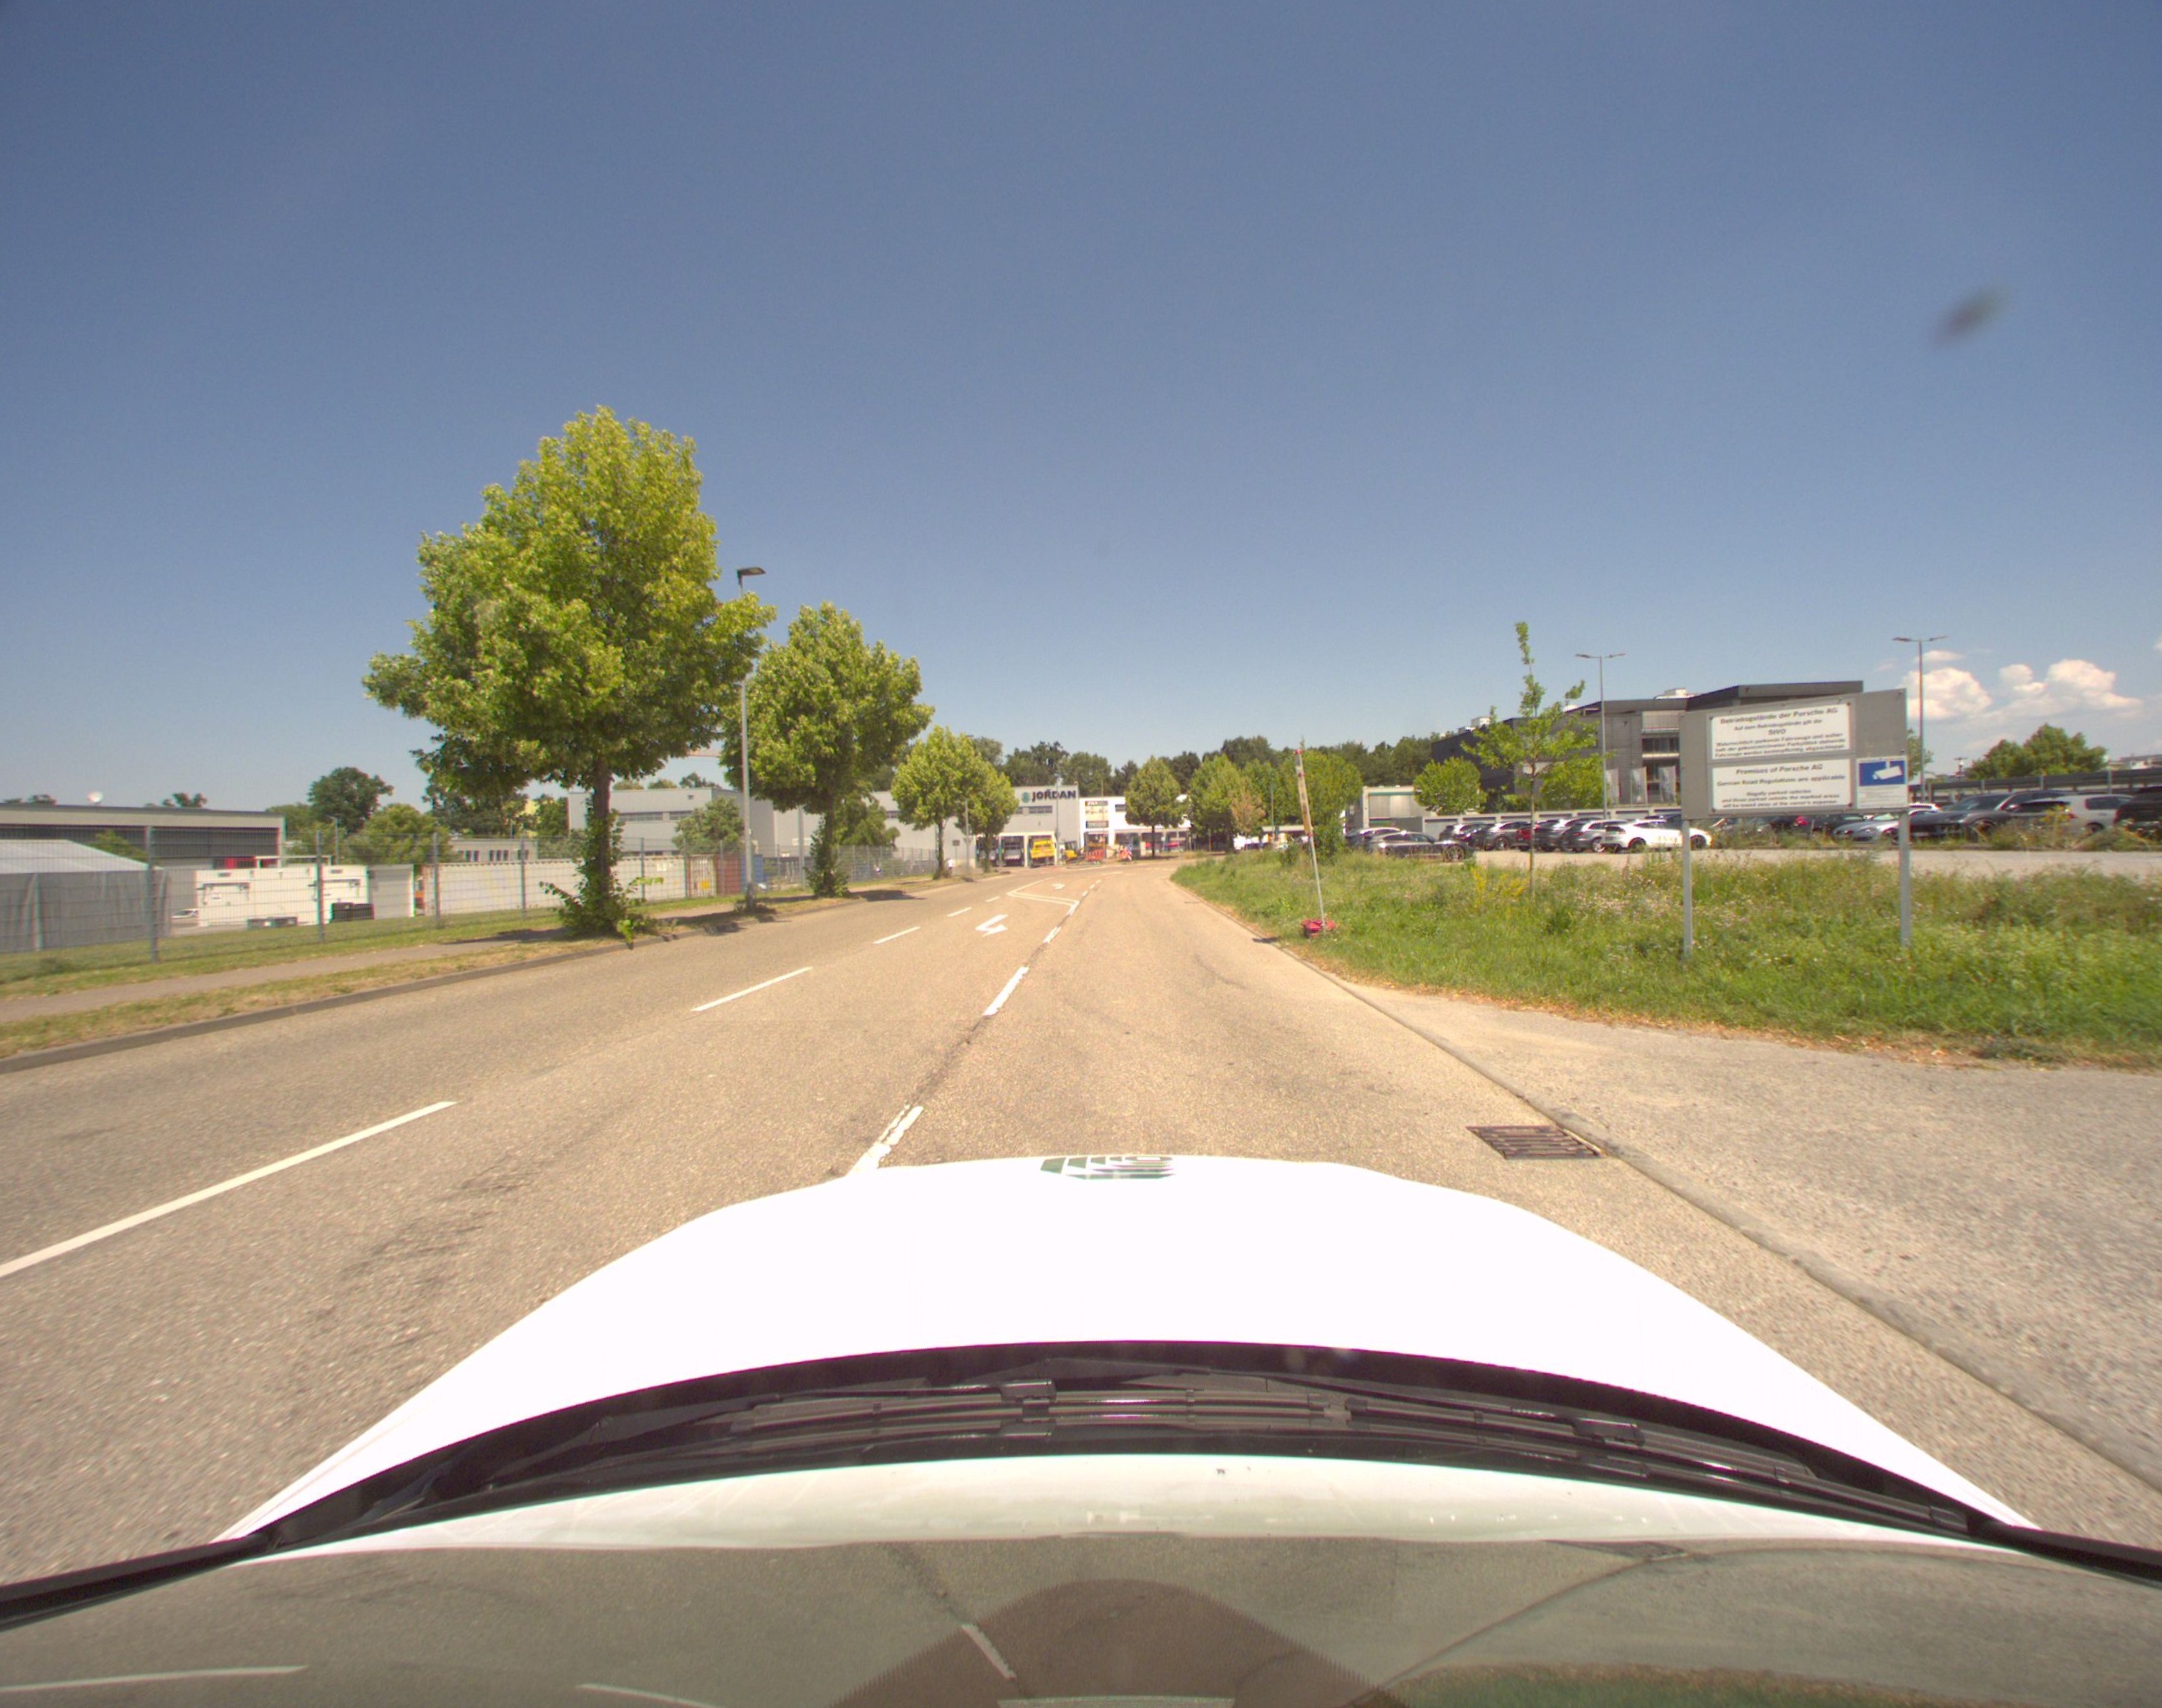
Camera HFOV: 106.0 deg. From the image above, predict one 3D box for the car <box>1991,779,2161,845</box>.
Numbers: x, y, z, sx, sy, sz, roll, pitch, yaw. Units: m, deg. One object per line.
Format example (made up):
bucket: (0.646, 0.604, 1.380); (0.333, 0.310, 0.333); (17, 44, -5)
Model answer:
car: (29.064, -1.236, 23.397); (3.976, 1.595, 1.768); (-4, 4, -1)

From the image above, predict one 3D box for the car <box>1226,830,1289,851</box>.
car: (21.090, -1.565, 97.507); (7.137, 2.088, 2.003); (-3, 0, 5)

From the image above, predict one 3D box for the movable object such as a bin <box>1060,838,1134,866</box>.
movable object such as a bin: (1.840, -0.221, 89.844); (7.479, 2.499, 3.678); (-3, 4, 10)

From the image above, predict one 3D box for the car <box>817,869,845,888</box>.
car: (-27.025, 2.613, 88.082); (1.990, 1.551, 3.995); (-4, 4, -4)

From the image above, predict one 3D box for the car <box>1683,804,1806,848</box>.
car: (28.815, -1.231, 35.438); (3.976, 1.595, 1.768); (-4, 4, -1)

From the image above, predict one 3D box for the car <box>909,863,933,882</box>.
car: (-17.446, 1.975, 88.698); (1.990, 1.551, 3.995); (-4, 4, -4)

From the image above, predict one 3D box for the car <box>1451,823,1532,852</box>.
car: (24.651, -1.001, 48.994); (3.976, 1.400, 1.768); (-4, 4, -1)

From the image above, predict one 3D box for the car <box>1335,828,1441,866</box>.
car: (13.939, -0.347, 37.118); (4.151, 1.400, 1.768); (-4, 4, -1)

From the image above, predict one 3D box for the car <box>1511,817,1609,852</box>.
car: (24.554, -1.034, 41.817); (3.976, 1.461, 1.768); (-4, 4, -1)

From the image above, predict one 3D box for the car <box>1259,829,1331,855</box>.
car: (13.886, -0.796, 52.973); (4.151, 1.400, 1.768); (-4, 4, -1)

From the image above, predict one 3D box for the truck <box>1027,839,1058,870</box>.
truck: (-4.301, -0.027, 89.545); (2.935, 2.885, 5.799); (-4, 4, -6)

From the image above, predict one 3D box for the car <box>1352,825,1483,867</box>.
car: (14.026, -0.359, 34.110); (4.682, 1.400, 1.924); (-3, 4, 4)

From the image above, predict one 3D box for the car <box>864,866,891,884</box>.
car: (-22.093, 2.275, 88.536); (1.990, 1.551, 3.995); (-4, 4, -4)

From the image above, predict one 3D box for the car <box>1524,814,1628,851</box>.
car: (23.739, -1.048, 39.136); (3.976, 1.489, 1.768); (-4, 4, -1)

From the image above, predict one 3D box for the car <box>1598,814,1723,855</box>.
car: (23.971, -0.829, 33.779); (3.974, 1.400, 1.769); (-4, 4, 0)

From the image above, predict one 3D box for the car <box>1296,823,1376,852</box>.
car: (14.983, -0.988, 47.999); (4.151, 1.400, 1.768); (-4, 4, -1)

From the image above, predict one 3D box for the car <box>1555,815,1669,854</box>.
car: (23.728, -0.892, 36.490); (3.976, 1.400, 1.768); (-4, 4, -1)

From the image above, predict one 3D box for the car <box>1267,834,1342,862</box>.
car: (13.928, -0.392, 50.825); (4.151, 1.400, 1.768); (-4, 4, -1)

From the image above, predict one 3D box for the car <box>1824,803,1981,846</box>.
car: (29.509, -1.083, 29.331); (3.976, 1.271, 1.768); (-4, 4, -1)

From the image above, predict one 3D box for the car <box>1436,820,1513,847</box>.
car: (24.838, -1.336, 51.474); (3.976, 1.400, 1.768); (-4, 4, -1)

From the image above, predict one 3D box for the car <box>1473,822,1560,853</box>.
car: (24.630, -0.964, 46.096); (3.976, 1.400, 1.768); (-4, 4, -1)

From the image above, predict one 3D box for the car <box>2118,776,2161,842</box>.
car: (28.781, -1.208, 20.158); (3.976, 1.595, 1.861); (-4, 4, -1)

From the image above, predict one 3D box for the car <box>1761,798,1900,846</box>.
car: (29.746, -1.301, 32.388); (3.976, 1.595, 1.768); (-4, 4, -1)

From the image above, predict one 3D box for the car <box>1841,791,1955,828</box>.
car: (40.746, -2.238, 40.666); (3.976, 1.595, 1.768); (-4, 4, -1)

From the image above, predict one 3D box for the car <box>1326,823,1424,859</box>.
car: (14.312, -0.656, 39.767); (4.151, 1.400, 1.768); (-4, 4, -1)

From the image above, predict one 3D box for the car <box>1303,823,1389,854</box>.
car: (14.582, -0.863, 44.901); (4.151, 1.400, 1.768); (-4, 4, -1)

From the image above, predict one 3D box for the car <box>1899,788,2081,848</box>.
car: (29.034, -1.169, 26.102); (3.976, 1.595, 1.768); (-4, 4, -1)
